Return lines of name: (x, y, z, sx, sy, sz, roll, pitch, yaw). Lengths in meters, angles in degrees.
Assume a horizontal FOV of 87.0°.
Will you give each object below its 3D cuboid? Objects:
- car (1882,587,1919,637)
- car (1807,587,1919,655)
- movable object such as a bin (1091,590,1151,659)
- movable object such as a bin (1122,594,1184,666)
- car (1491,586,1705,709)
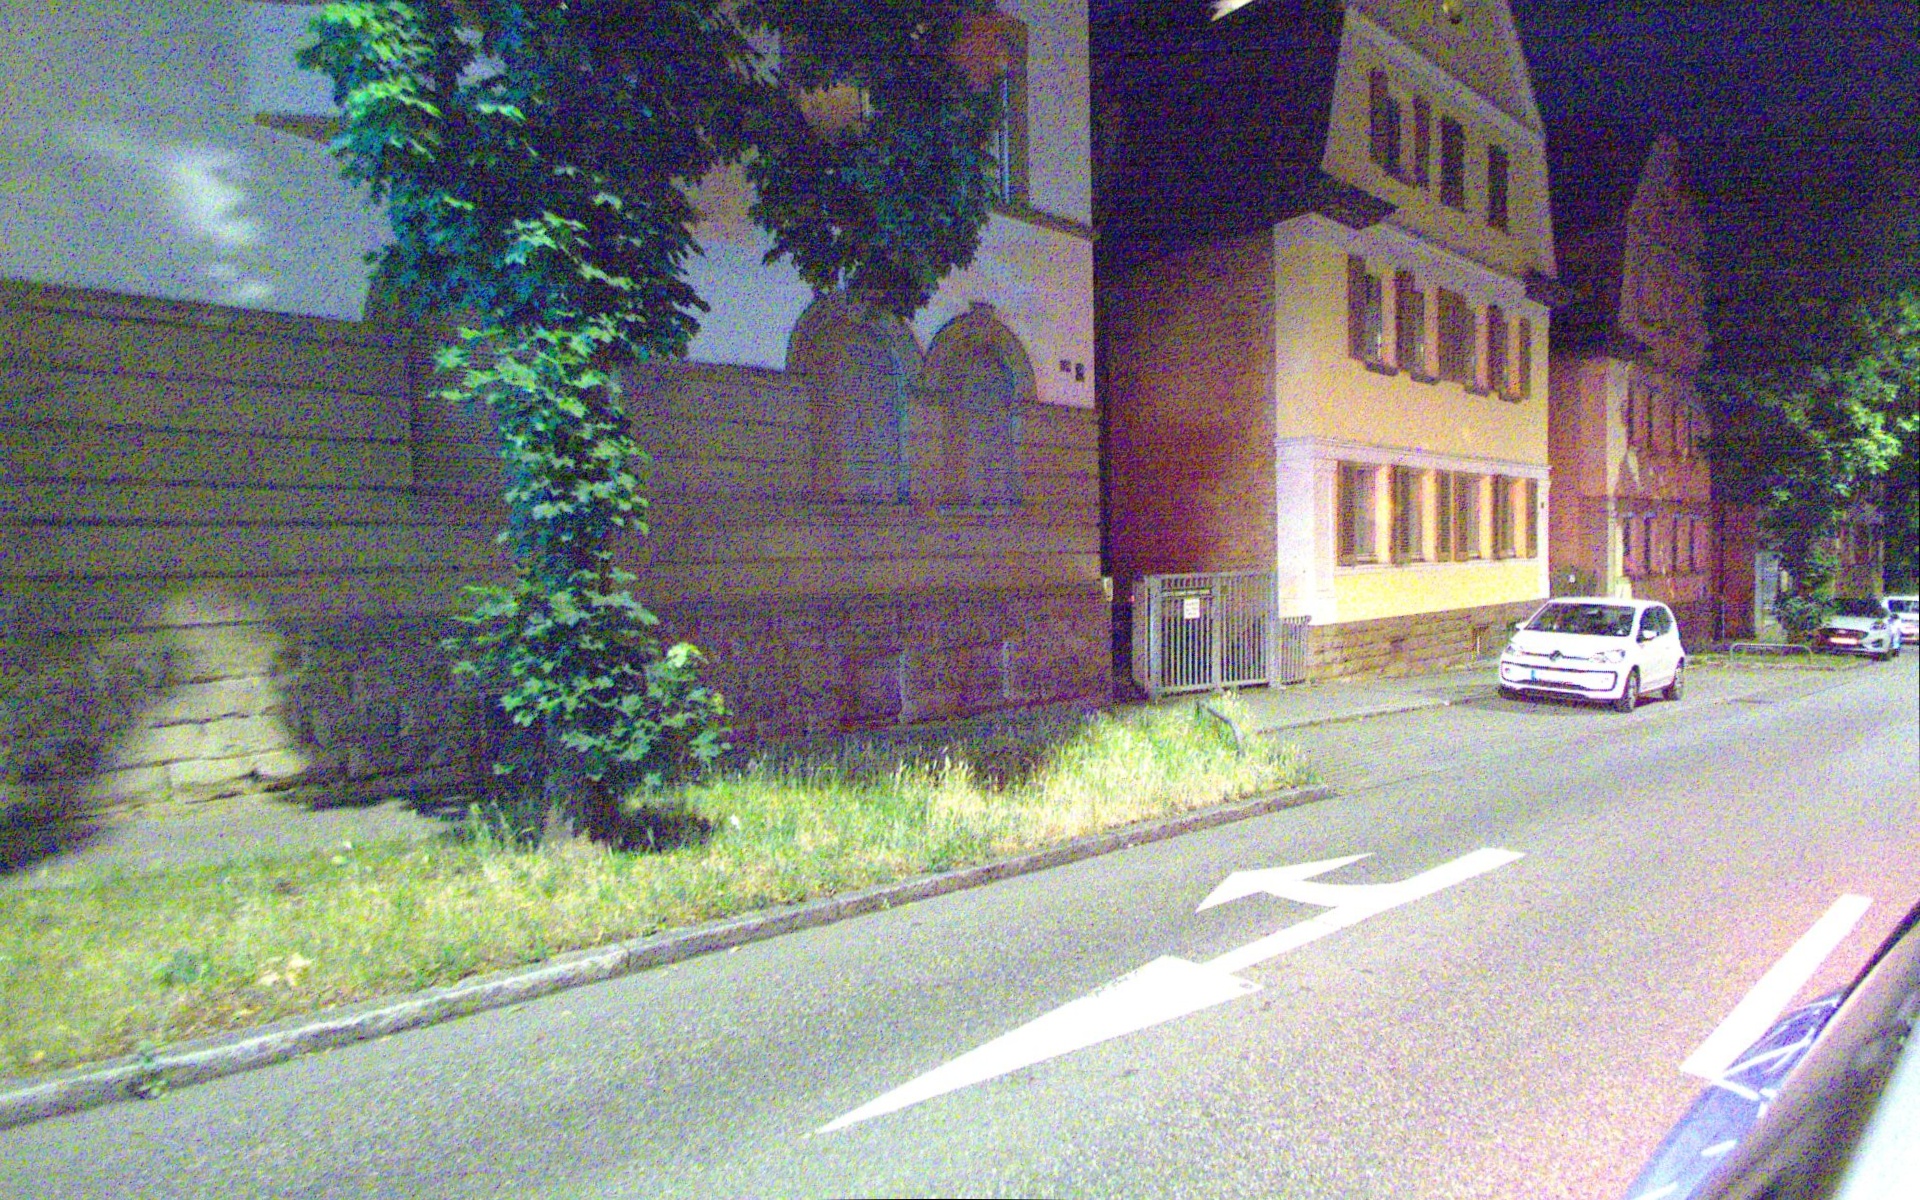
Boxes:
car: (33.729, 0.412, 35.303, 4.281, 1.616, 1.742, 0, 3, -40)
car: (23.747, 0.486, 26.534, 3.977, 1.572, 1.862, 0, 3, -43)
movable object such as a bin: (2.532, 0.374, 15.924, 0.742, 1.062, 0.608, 0, 0, -41)
movable object such as a bin: (2.935, 0.437, 15.405, 0.742, 1.062, 0.608, 0, 0, -41)
car: (9.263, 0.583, 14.613, 3.541, 1.503, 1.671, 0, 2, -42)
